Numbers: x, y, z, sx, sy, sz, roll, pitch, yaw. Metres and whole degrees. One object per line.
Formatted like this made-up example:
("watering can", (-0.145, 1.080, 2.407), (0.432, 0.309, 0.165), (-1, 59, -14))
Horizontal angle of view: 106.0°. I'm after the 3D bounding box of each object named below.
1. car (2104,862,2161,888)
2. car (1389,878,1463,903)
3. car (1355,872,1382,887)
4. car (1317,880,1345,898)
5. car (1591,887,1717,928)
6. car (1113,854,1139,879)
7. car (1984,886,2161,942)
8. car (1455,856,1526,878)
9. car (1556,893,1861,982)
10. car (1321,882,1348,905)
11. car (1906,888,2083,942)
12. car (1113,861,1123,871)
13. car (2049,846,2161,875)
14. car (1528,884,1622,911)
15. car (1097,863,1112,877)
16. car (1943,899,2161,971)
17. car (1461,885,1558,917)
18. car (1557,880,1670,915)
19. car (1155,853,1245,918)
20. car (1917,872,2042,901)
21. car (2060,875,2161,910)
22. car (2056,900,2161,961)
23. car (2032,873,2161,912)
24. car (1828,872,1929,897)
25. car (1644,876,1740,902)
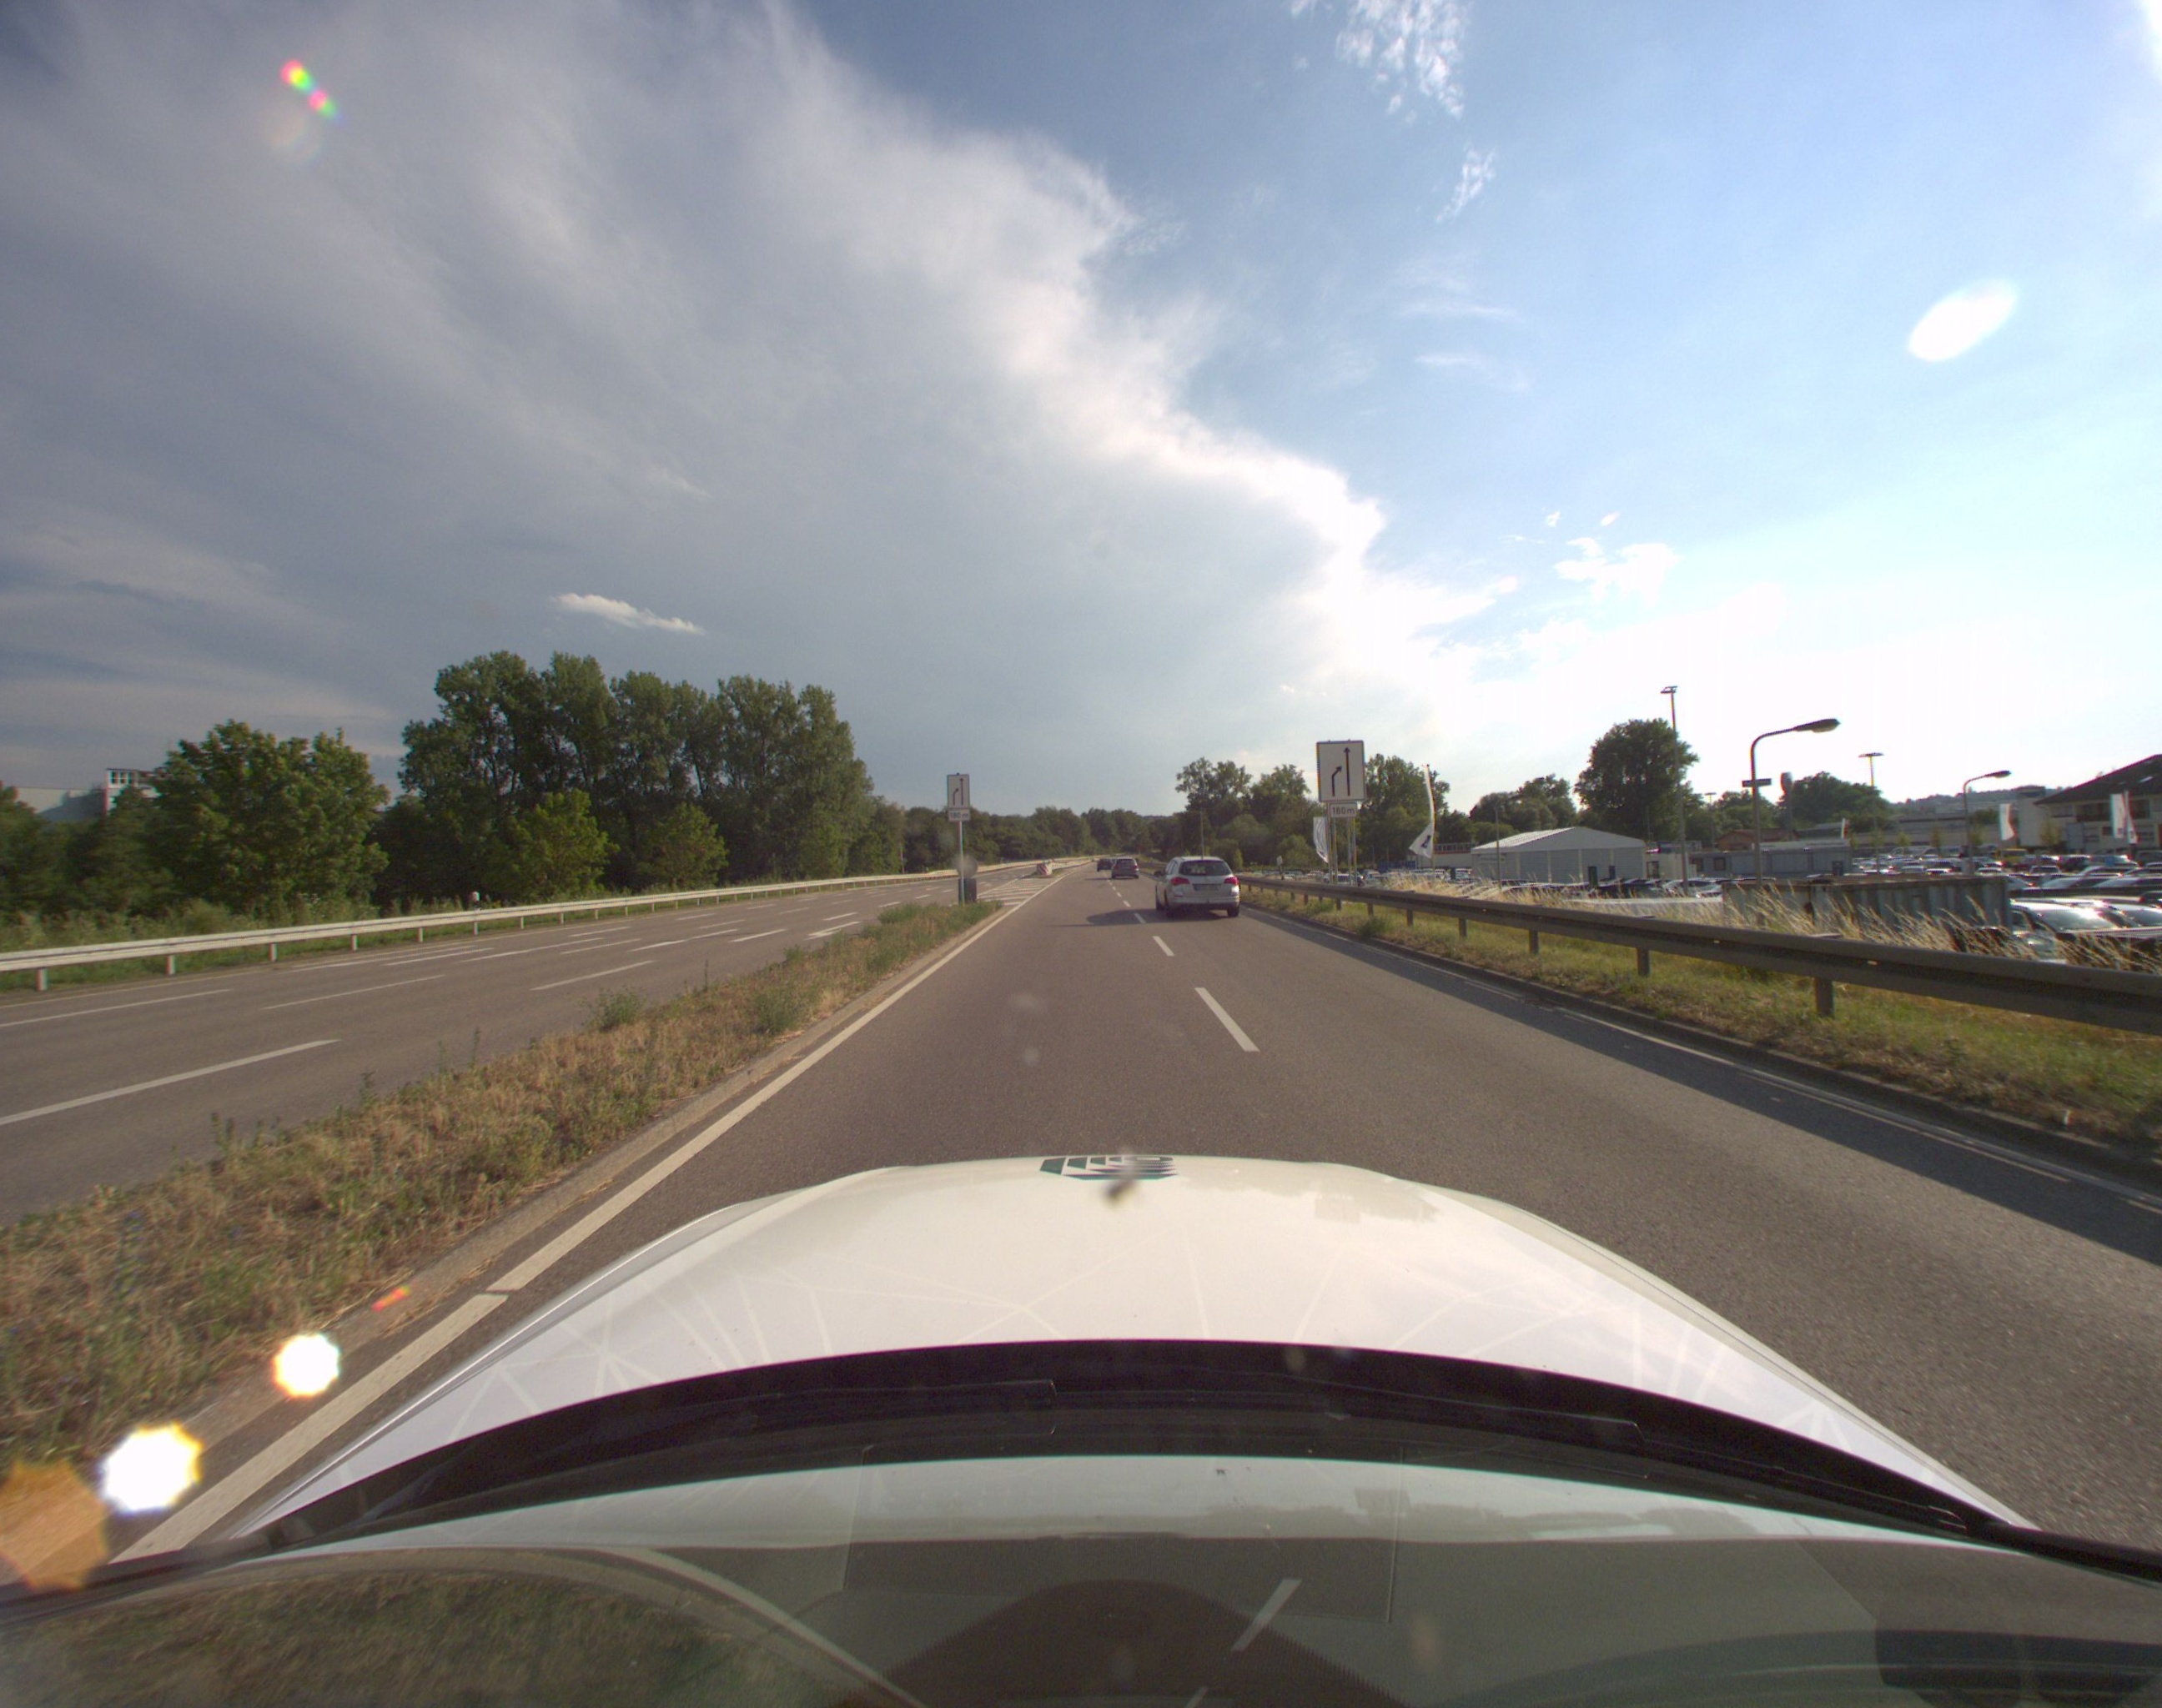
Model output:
("car", (69.428, 1.367, 52.444), (1.894, 1.636, 4.389), (1, -2, -37))
("car", (23.743, 2.528, 56.244), (4.392, 1.667, 1.846), (-1, -1, 9))
("car", (32.673, 2.871, 92.675), (1.870, 1.636, 4.736), (-1, -1, 5))
("car", (24.545, 3.395, 80.183), (1.869, 1.636, 4.738), (-1, -1, 7))
("car", (26.401, 2.451, 37.646), (4.392, 1.714, 1.805), (-1, -2, 9))
("car", (2.972, 0.850, 53.977), (1.660, 1.574, 4.002), (0, -1, 2))
("car", (33.312, 1.961, 27.513), (1.588, 1.701, 3.898), (-1, -1, 8))
("car", (30.481, 0.981, 60.755), (4.399, 1.636, 1.890), (-1, -1, 8))
("car", (15.310, 2.016, 20.159), (5.855, 2.014, 2.002), (0, -1, 4))
("car", (22.998, 3.573, 73.997), (1.867, 1.931, 4.744), (-1, -1, 12))
("car", (30.910, 2.012, 27.771), (1.588, 1.594, 4.294), (-1, -1, 8))
("car", (5.539, 1.795, 122.506), (1.487, 1.476, 3.360), (0, -1, 2))
("car", (55.476, 0.363, 43.932), (3.964, 1.502, 1.836), (-1, -1, 9))
("car", (29.188, 2.547, 48.210), (4.392, 1.543, 1.805), (-1, -1, 9))
("car", (2.530, 1.681, 86.251), (1.487, 1.476, 3.360), (0, -1, 2))
("car", (27.817, 2.221, 23.275), (1.955, 1.701, 4.506), (-1, -1, 8))
("car", (21.611, 2.383, 41.223), (3.954, 1.543, 1.790), (0, -1, 5))
("car", (26.652, 2.172, 40.907), (4.392, 1.714, 1.805), (-1, -1, 9))
("car", (2.933, 0.763, 20.781), (1.802, 1.486, 4.001), (0, -1, 2))
("car", (48.979, 1.754, 44.494), (4.301, 1.543, 1.807), (-1, -1, 13))
("car", (48.323, 1.754, 37.311), (4.306, 1.543, 1.805), (-1, -1, 9))
("car", (30.282, 2.140, 22.807), (1.588, 1.564, 3.898), (-1, -1, 8))
("car", (49.791, 1.875, 39.834), (3.964, 1.860, 1.931), (-1, -1, 9))
("car", (51.107, 1.967, 52.265), (4.301, 1.543, 1.807), (-1, -1, 13))
("car", (37.708, 2.168, 50.347), (4.392, 1.543, 1.805), (-1, -1, 9))
